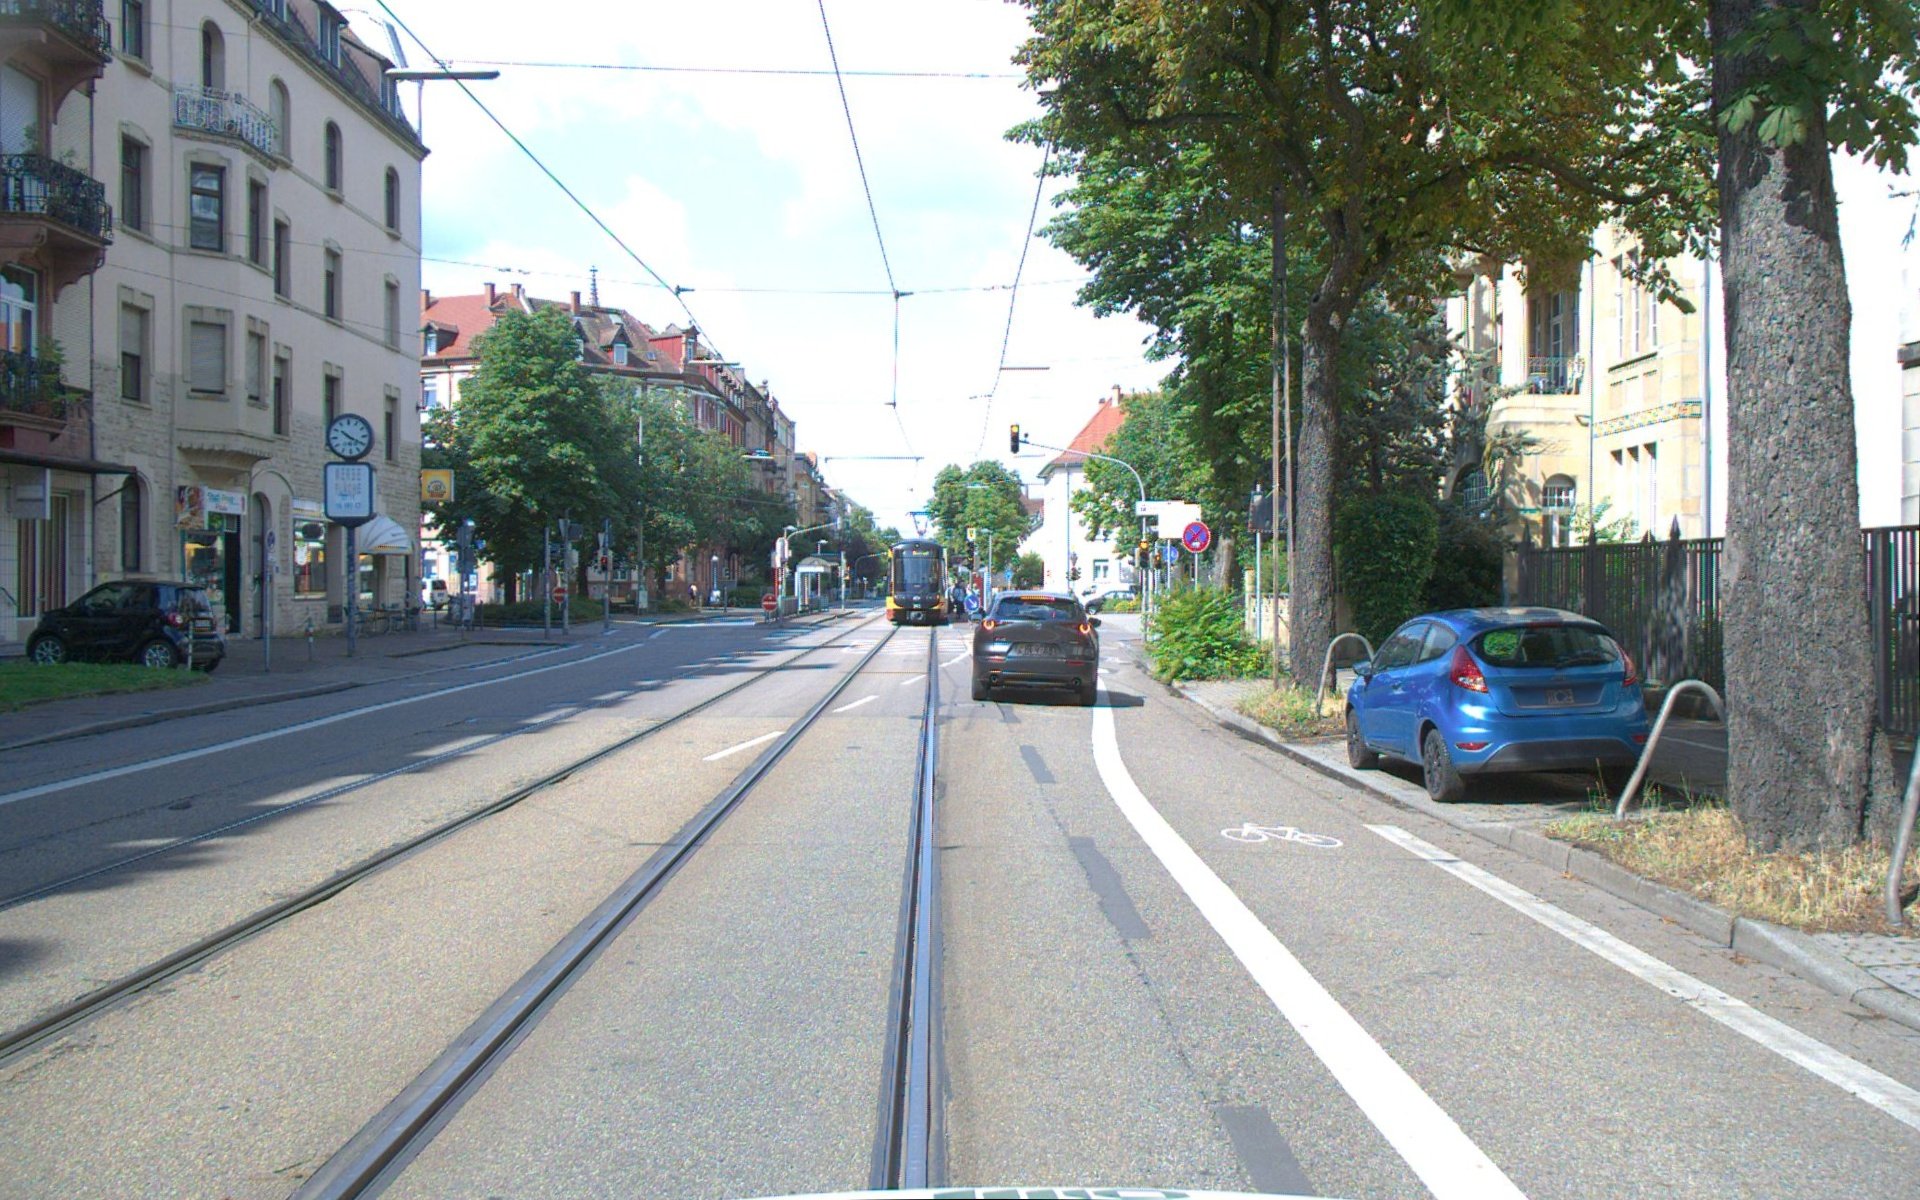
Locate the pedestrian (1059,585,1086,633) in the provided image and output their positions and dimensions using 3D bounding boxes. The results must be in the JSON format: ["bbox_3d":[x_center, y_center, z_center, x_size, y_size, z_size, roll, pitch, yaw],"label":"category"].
[{"bbox_3d":[3.862,0.319,56.617,0.857,1.633,0.631,0,0,-3],"label":"pedestrian"}]

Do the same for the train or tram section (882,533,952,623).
[{"bbox_3d":[-1.941,-0.905,71.064,2.599,3.589,8.489,-1,0,-4],"label":"train or tram section"}]

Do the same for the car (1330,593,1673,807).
[{"bbox_3d":[4.462,0.733,14.236,1.591,1.522,3.847,-2,0,-1],"label":"car"}]

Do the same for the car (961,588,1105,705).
[{"bbox_3d":[0.985,0.609,24.394,1.753,1.538,4.349,1,1,-2],"label":"car"}]

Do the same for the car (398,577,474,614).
[{"bbox_3d":[-33.023,-0.307,104.315,4.032,2.048,2.002,-3,0,9],"label":"car"}]

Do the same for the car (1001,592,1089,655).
[{"bbox_3d":[2.150,0.562,42.889,1.749,1.518,4.880,-1,1,-3],"label":"car"}]

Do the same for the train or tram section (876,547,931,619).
[{"bbox_3d":[-3.089,-0.873,88.034,2.599,3.589,8.489,-1,0,-4],"label":"train or tram section"}]

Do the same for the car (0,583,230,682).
[{"bbox_3d":[-14.286,0.521,27.891,3.169,1.539,1.679,1,0,2],"label":"car"}]

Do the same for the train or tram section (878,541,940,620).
[{"bbox_3d":[-2.514,-0.889,79.559,2.599,3.589,8.489,-1,0,-4],"label":"train or tram section"}]

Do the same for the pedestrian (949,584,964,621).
[{"bbox_3d":[-0.164,0.089,73.506,0.654,1.633,0.699,0,0,-3],"label":"pedestrian"}]
